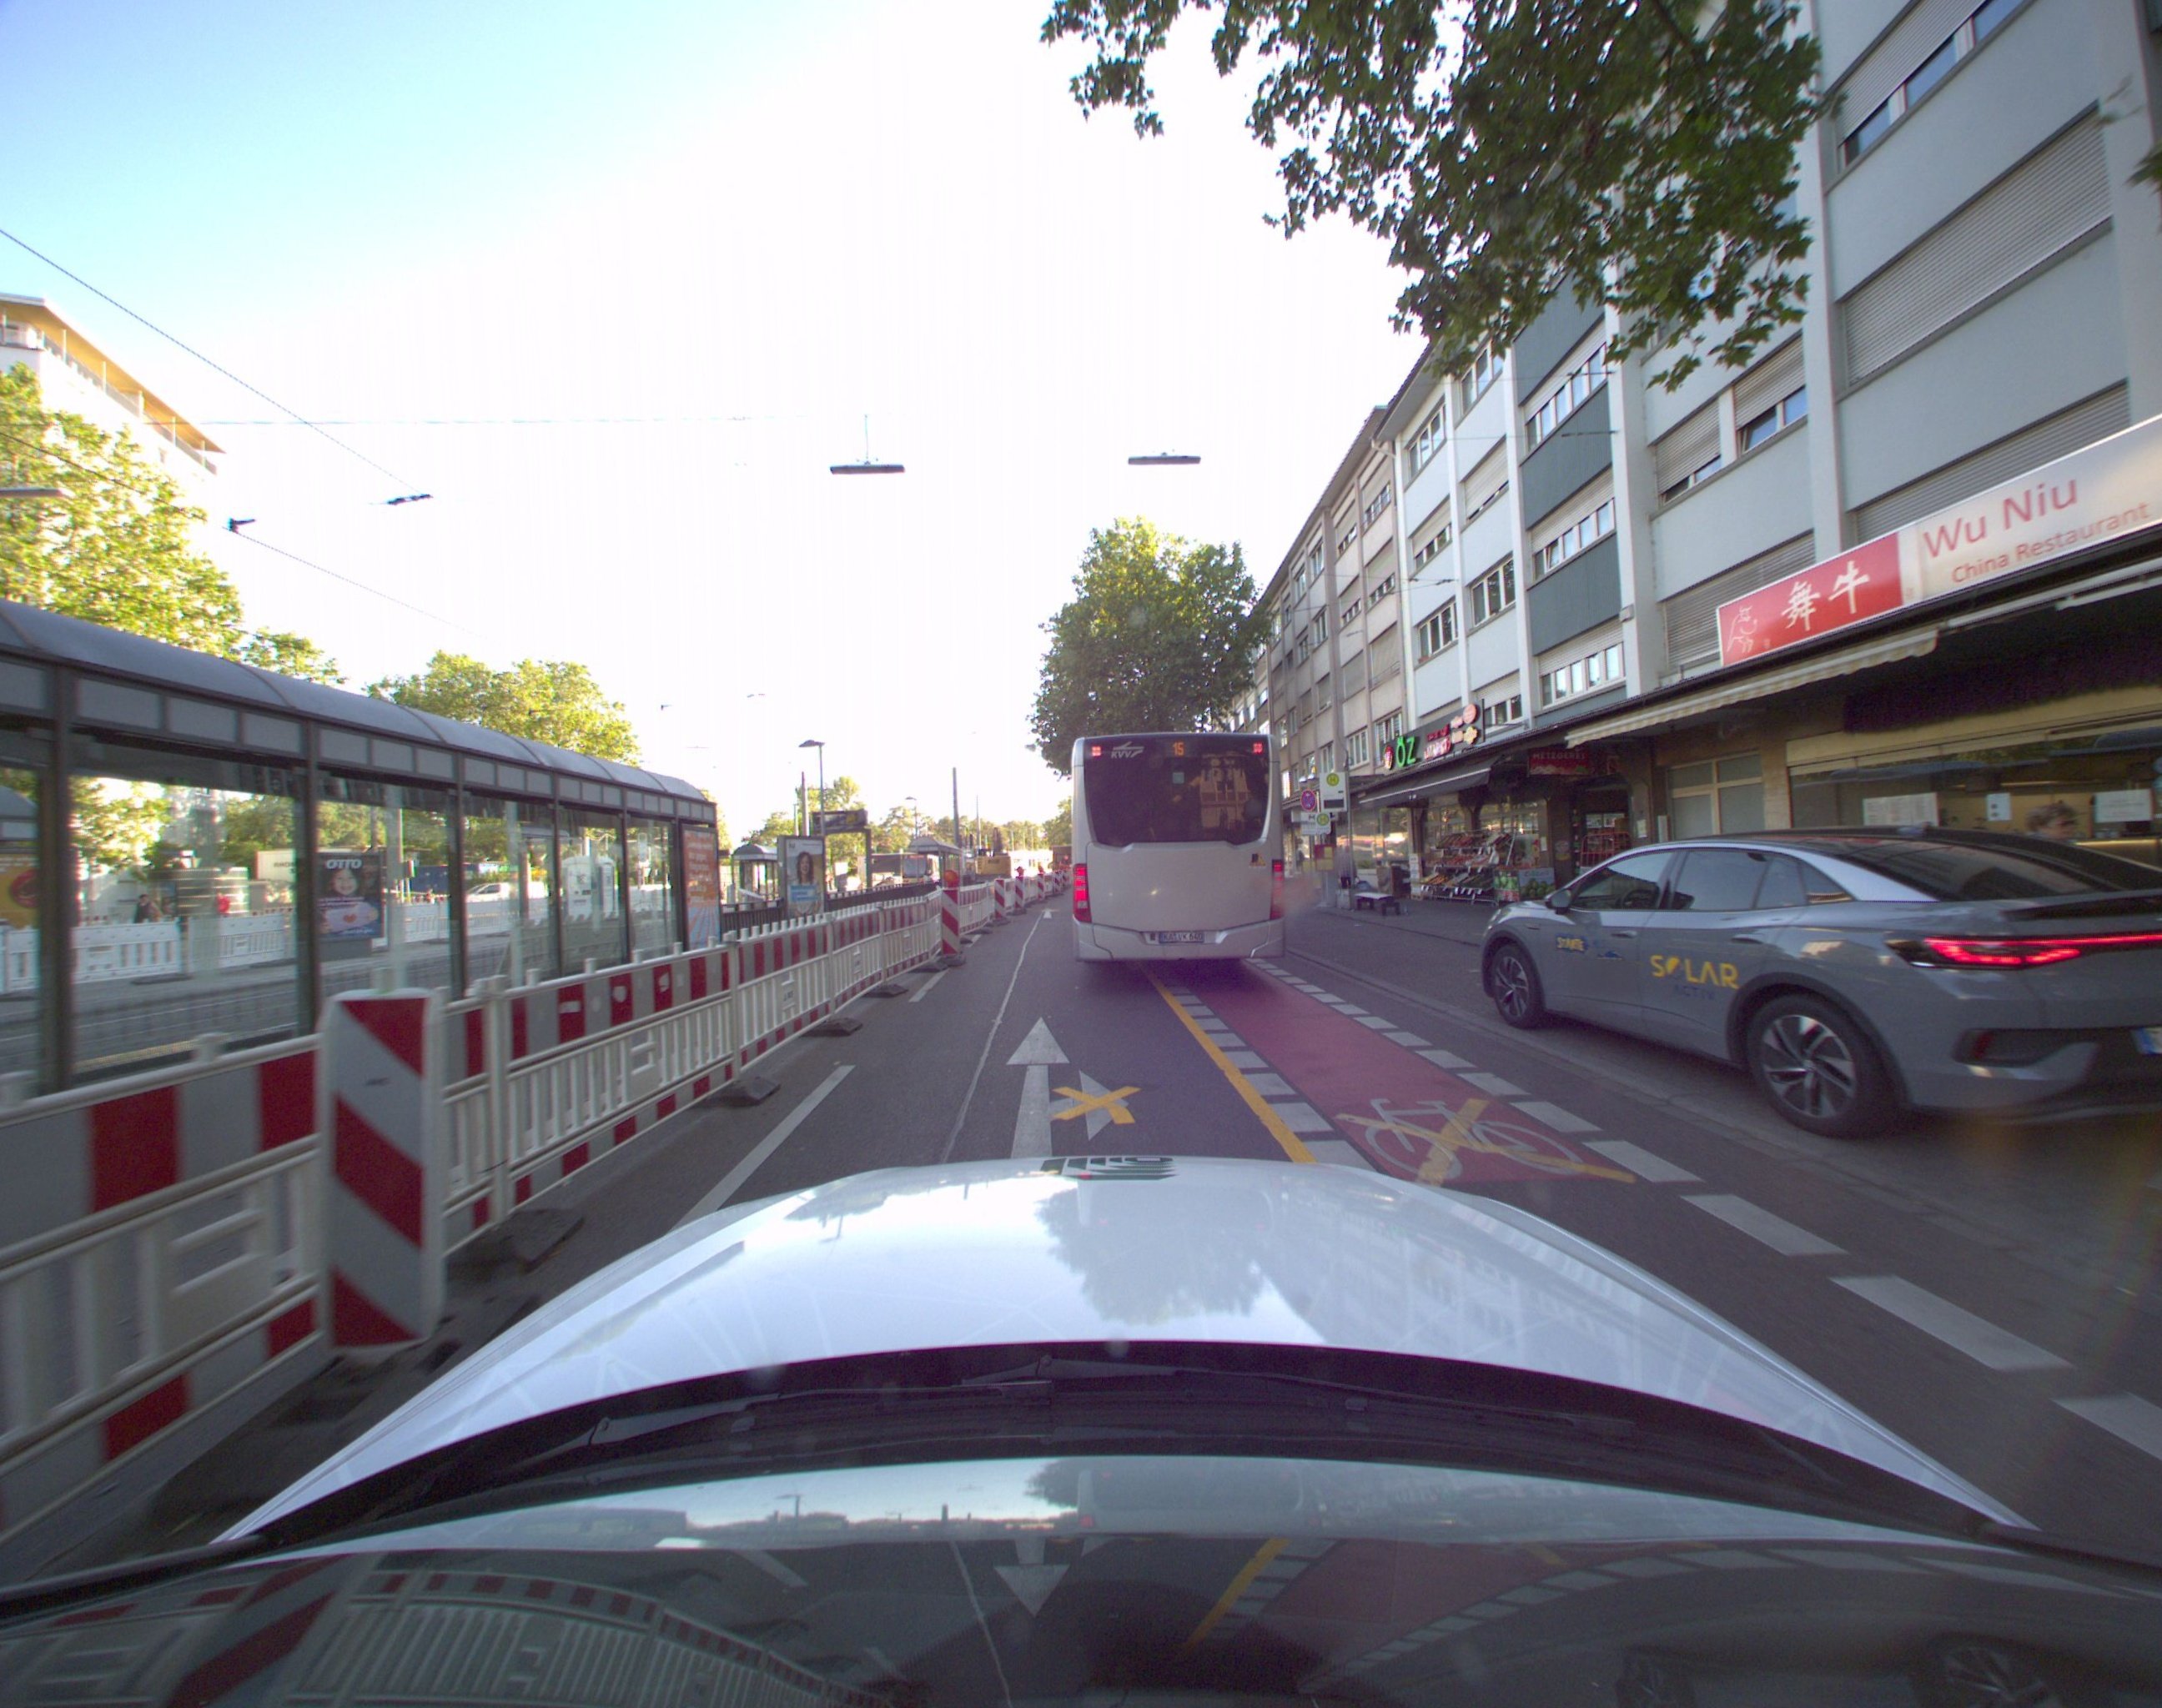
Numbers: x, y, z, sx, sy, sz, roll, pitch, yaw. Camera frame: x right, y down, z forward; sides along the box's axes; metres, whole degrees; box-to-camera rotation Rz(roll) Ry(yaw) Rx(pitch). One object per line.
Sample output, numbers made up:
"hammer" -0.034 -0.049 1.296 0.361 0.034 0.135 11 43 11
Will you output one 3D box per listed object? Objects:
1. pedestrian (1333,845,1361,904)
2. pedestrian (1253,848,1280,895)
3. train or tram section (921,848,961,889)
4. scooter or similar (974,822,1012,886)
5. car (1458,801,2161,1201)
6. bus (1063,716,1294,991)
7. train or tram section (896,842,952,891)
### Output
"pedestrian" 7.829 0.595 23.940 0.658 1.667 0.603 -4 -2 18
"pedestrian" 6.824 0.628 29.913 0.871 1.691 0.622 -3 -1 17
"train or tram section" -13.078 1.351 76.823 2.682 3.559 11.561 -1 -1 -5
"scooter or similar" -6.488 0.076 60.765 2.464 4.471 5.962 -2 -1 -5
"car" 4.715 0.597 5.627 1.989 1.582 4.365 -4 0 -2
"bus" 1.295 0.057 13.305 2.600 3.126 7.997 0 -1 3
"train or tram section" -12.376 1.039 65.241 2.680 3.534 11.758 -1 -1 -3
